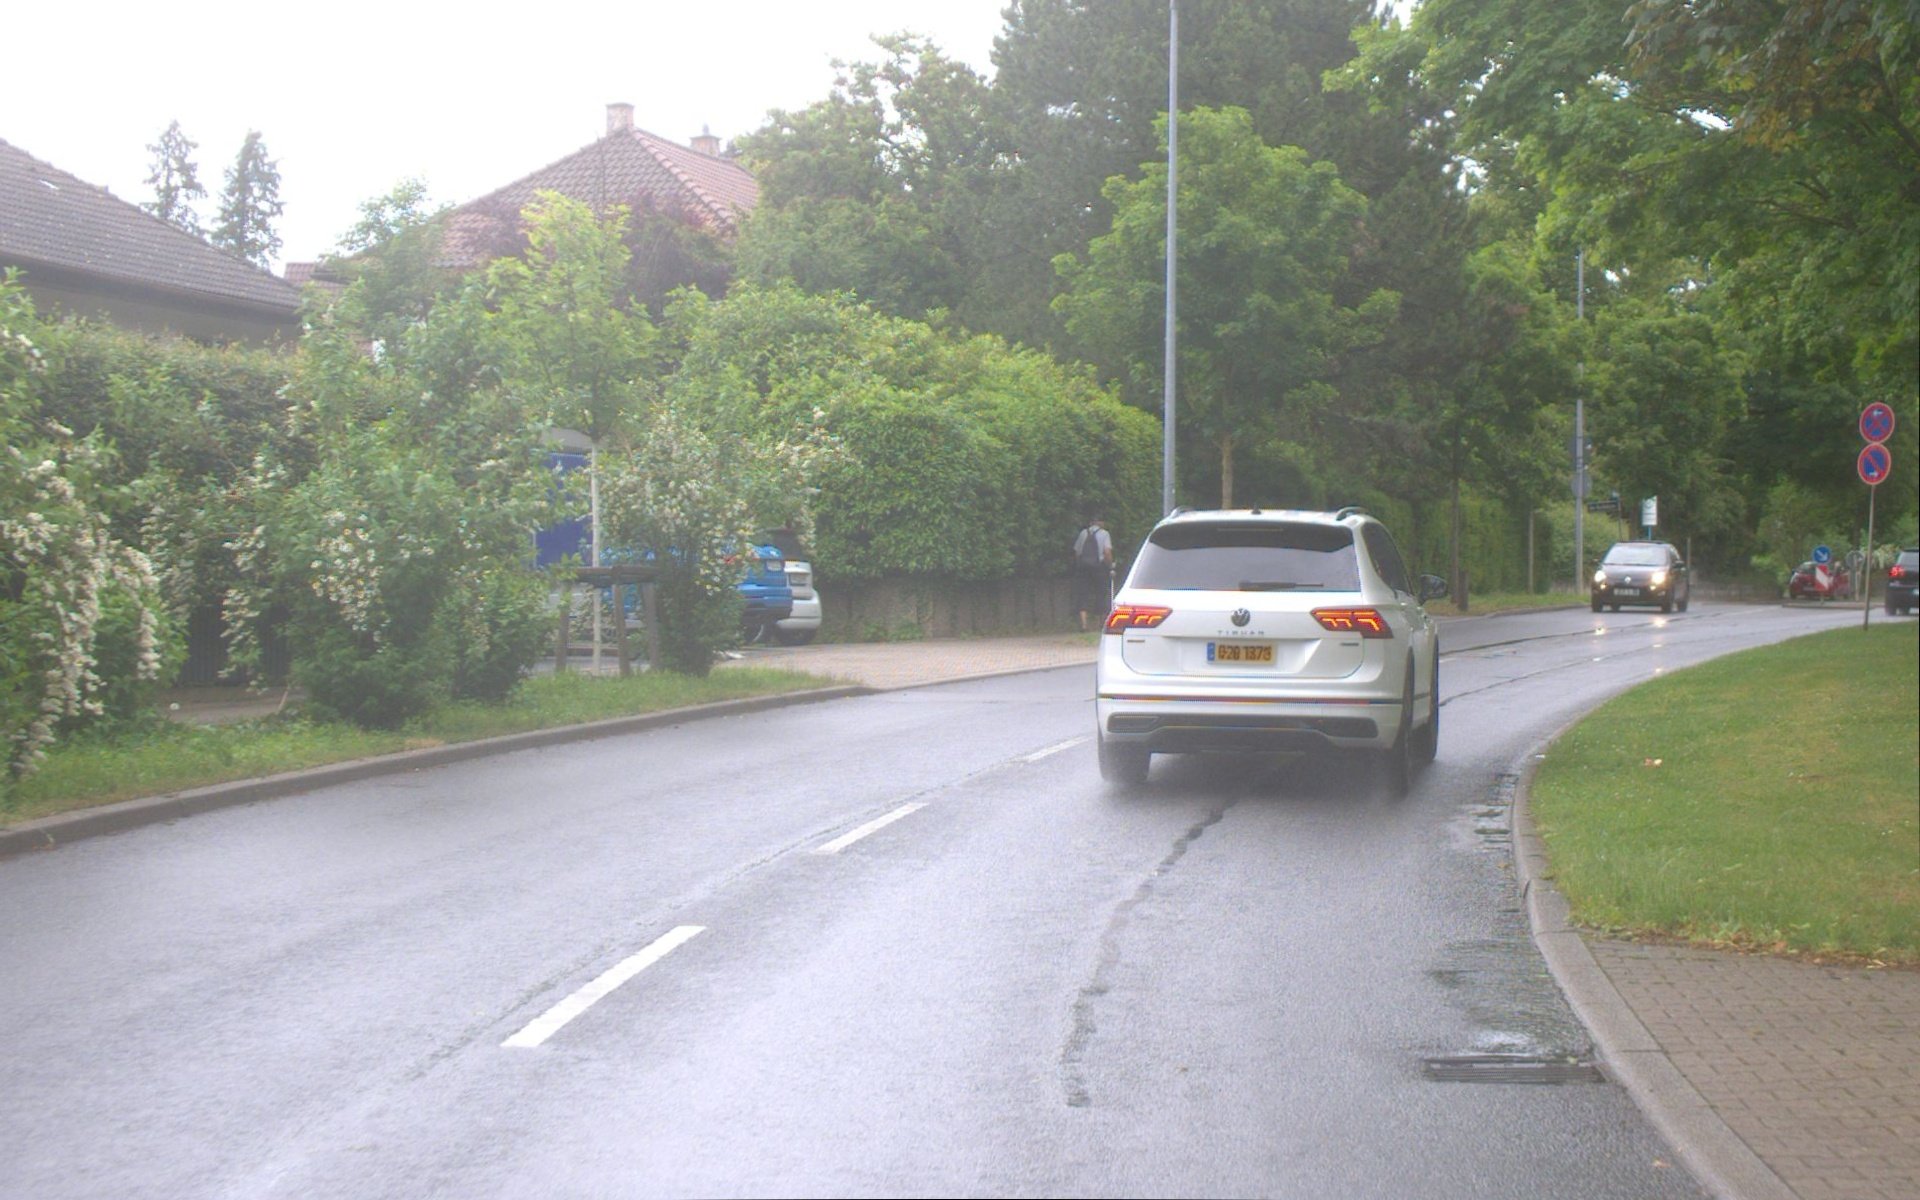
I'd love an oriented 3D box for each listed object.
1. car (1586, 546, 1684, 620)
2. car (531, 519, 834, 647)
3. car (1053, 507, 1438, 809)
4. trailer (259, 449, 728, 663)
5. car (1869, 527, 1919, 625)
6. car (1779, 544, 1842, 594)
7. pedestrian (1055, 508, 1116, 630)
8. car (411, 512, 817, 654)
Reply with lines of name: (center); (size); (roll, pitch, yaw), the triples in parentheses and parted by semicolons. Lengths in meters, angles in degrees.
car: (14.060, -0.376, 71.486); (1.584, 1.472, 3.893); (0, 1, 18)
car: (-3.482, -0.233, 43.375); (3.405, 1.514, 1.729); (1, 1, 16)
car: (1.876, 0.291, 21.318); (1.975, 1.647, 4.175); (1, 1, 10)
trailer: (-4.992, -0.491, 36.928); (4.624, 2.164, 1.813); (1, 1, 16)
car: (20.661, -0.474, 74.090); (1.902, 2.007, 3.942); (2, 0, 14)
car: (32.447, -1.166, 131.033); (1.995, 1.756, 3.996); (2, 0, 18)
pedestrian: (1.748, -0.437, 47.804); (0.777, 1.656, 0.843); (1, 1, 4)
car: (-4.015, -0.214, 40.165); (4.241, 1.534, 2.050); (1, 1, 16)
